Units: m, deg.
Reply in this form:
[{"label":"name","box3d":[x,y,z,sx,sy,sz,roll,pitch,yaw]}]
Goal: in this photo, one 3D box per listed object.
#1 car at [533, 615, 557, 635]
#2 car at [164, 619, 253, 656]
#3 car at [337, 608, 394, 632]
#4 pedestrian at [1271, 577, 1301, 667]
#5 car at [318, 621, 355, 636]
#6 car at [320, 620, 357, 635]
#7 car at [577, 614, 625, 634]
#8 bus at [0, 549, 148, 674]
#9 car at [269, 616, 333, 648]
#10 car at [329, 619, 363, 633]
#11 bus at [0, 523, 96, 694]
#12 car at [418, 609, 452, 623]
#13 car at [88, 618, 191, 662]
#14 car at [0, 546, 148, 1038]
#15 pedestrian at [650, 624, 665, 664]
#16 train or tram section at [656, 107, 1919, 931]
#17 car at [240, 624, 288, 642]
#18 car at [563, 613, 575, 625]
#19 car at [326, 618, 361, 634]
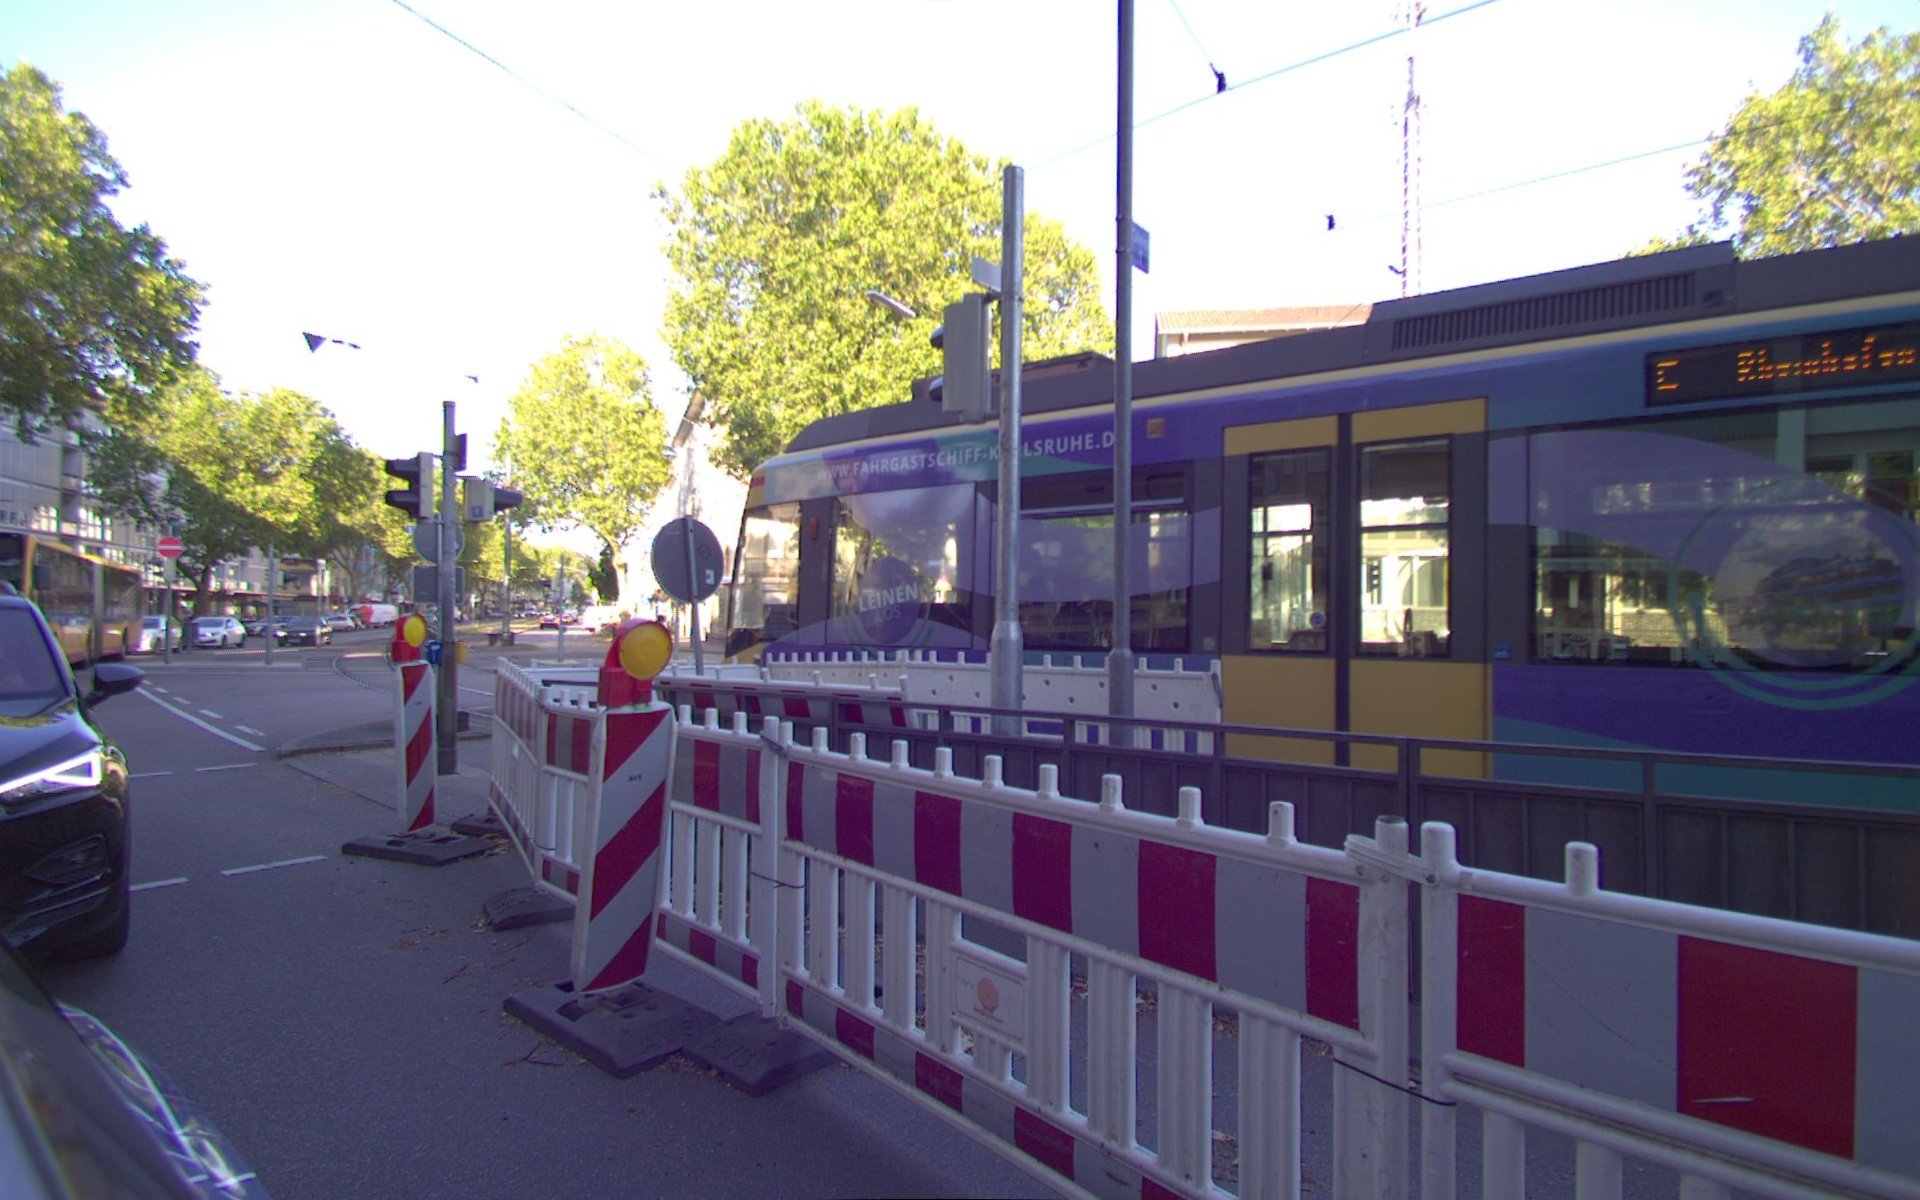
[{"label":"car","box3d":[-41.811,2.507,101.969,1.965,1.881,4.012,1,-1,-19]},{"label":"car","box3d":[-34.663,1.698,46.851,1.923,1.562,4.771,1,-1,-19]},{"label":"car","box3d":[-61.606,2.068,104.985,1.873,2.394,4.817,0,-1,30]},{"label":"pedestrian","box3d":[6.261,0.419,19.454,0.539,1.710,0.515,0,-2,18]},{"label":"car","box3d":[-54.913,2.476,89.161,1.201,1.290,2.592,0,-1,43]},{"label":"car","box3d":[-56.536,2.488,92.050,1.201,1.290,2.592,0,-1,43]},{"label":"car","box3d":[-34.221,2.292,96.534,1.994,1.929,3.954,-1,-2,33]},{"label":"bus","box3d":[-26.341,0.375,29.783,2.708,3.127,9.523,1,-2,-32]},{"label":"car","box3d":[-32.941,1.578,50.689,1.923,1.486,4.772,1,-1,-24]},{"label":"car","box3d":[-59.477,2.486,98.029,1.201,1.355,2.592,0,-1,43]},{"label":"bus","box3d":[-21.036,0.219,21.934,2.710,3.127,9.519,1,-2,-36]},{"label":"car","box3d":[-77.503,2.410,149.444,1.874,2.029,3.956,-1,-2,32]},{"label":"car","box3d":[-30.543,1.461,37.835,1.880,1.486,4.433,1,-1,-24]},{"label":"car","box3d":[-5.156,0.684,4.583,4.300,1.670,1.823,-1,-1,45]},{"label":"pedestrian","box3d":[-10.276,1.488,34.382,0.359,1.318,0.403,1,-2,-32]},{"label":"train or tram section","box3d":[1.922,-0.292,7.832,10.325,3.514,2.808,-1,-1,38]},{"label":"car","box3d":[-50.887,2.397,74.015,1.198,1.226,2.599,0,-1,34]},{"label":"car","box3d":[-66.301,3.260,171.579,1.875,1.918,4.013,1,-1,-21]},{"label":"car","box3d":[-58.064,2.452,95.335,1.201,1.399,2.592,0,-1,43]}]
